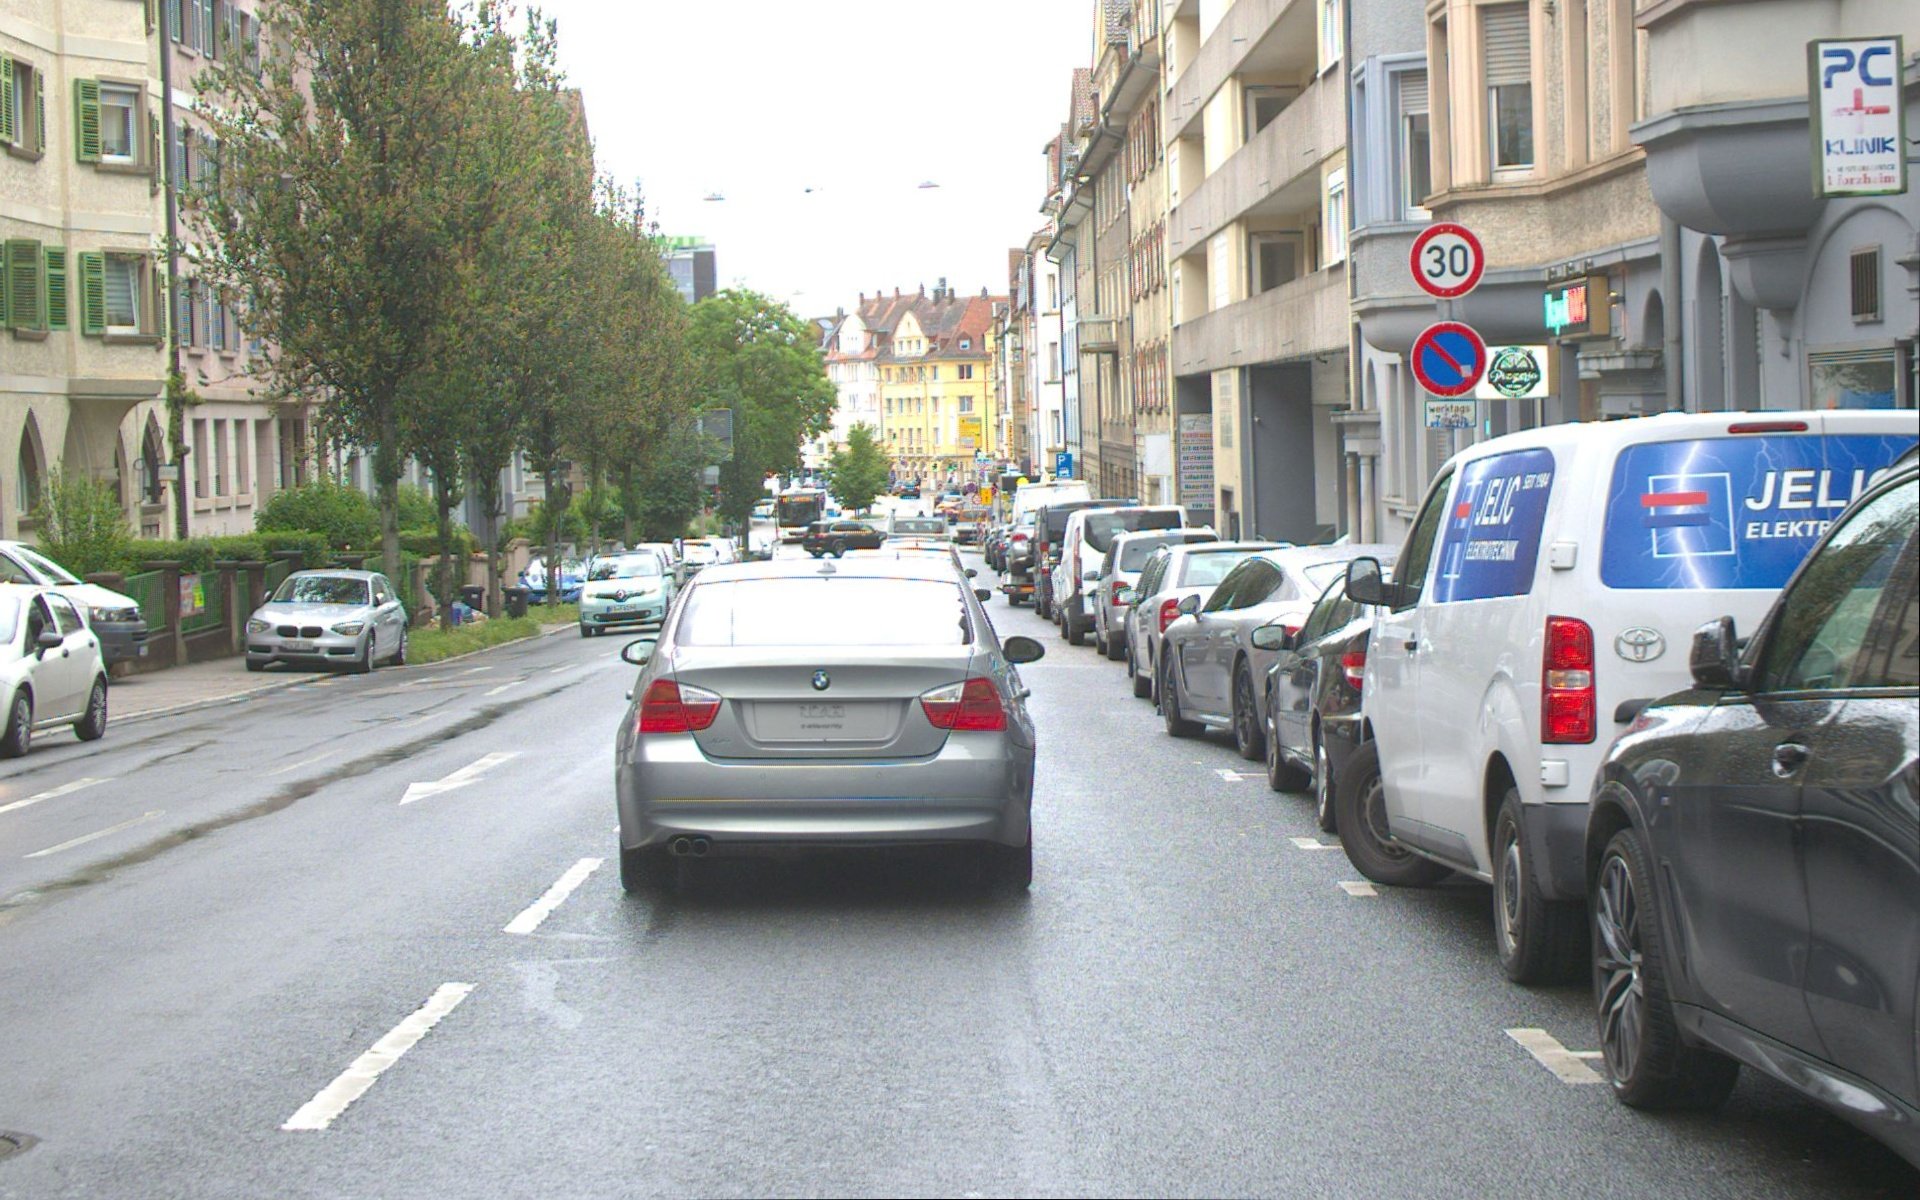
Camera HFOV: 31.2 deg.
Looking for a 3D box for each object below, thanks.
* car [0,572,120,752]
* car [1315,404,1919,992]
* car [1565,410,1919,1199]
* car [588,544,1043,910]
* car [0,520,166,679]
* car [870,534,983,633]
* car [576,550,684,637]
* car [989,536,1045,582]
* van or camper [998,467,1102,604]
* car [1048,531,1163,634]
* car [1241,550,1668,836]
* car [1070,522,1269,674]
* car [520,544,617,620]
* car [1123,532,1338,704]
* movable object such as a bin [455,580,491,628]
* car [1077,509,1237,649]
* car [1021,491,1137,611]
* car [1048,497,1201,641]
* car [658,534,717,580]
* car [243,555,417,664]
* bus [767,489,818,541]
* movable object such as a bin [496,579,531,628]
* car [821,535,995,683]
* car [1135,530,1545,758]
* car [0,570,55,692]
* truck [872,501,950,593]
[{"bbox_3d":[-8.699,0.513,30.166,1.621,1.441,4.005,-1,1,1],"label":"car"},{"bbox_3d":[2.653,0.259,13.411,1.919,1.821,5.009,-2,1,0],"label":"car"},{"bbox_3d":[2.686,0.507,7.410,1.879,1.725,4.677,1,1,-1],"label":"car"},{"bbox_3d":[-0.638,0.480,15.374,1.769,1.423,3.741,1,1,-2],"label":"car"},{"bbox_3d":[-12.989,0.025,44.633,4.829,1.967,2.048,-2,1,0],"label":"car"},{"bbox_3d":[-0.551,-0.272,54.019,1.697,1.478,3.794,1,1,-1],"label":"car"},{"bbox_3d":[-6.234,-0.146,65.207,1.636,1.503,3.755,-4,1,0],"label":"car"},{"bbox_3d":[1.897,-1.364,115.068,1.697,1.478,3.975,1,1,-1],"label":"car"},{"bbox_3d":[2.069,-1.444,76.996,2.033,2.859,6.884,2,1,3],"label":"van or camper"},{"bbox_3d":[2.476,-0.329,59.366,1.726,1.664,4.289,-2,1,0],"label":"car"},{"bbox_3d":[2.566,0.419,18.767,1.677,1.370,4.276,0,1,0],"label":"car"},{"bbox_3d":[2.276,-0.063,38.504,1.900,1.473,4.799,-4,1,1],"label":"car"},{"bbox_3d":[-8.866,-0.427,78.142,1.766,1.588,4.000,-3,1,-2],"label":"car"},{"bbox_3d":[2.417,0.123,31.536,1.611,1.469,4.016,0,1,0],"label":"car"},{"bbox_3d":[-9.348,0.072,65.975,0.574,0.909,0.640,-2,1,-14],"label":"movable object such as a bin"},{"bbox_3d":[2.534,-0.298,45.101,1.726,1.664,4.289,-3,1,0],"label":"car"},{"bbox_3d":[2.258,-0.952,66.451,1.982,2.158,4.750,-2,1,0],"label":"car"},{"bbox_3d":[2.433,-0.486,51.832,1.982,2.000,4.625,-2,1,0],"label":"car"},{"bbox_3d":[-9.524,-1.515,120.379,1.691,1.518,3.736,-3,1,1],"label":"car"},{"bbox_3d":[-9.081,0.121,49.800,1.726,1.478,3.989,1,0,0],"label":"car"},{"bbox_3d":[-10.071,-5.088,207.504,2.668,3.014,7.671,-2,1,0],"label":"bus"},{"bbox_3d":[-8.597,0.063,66.211,0.574,0.909,0.640,-2,1,-14],"label":"movable object such as a bin"},{"bbox_3d":[-0.494,0.066,35.550,1.682,1.423,3.741,1,1,1],"label":"car"},{"bbox_3d":[2.576,0.256,24.525,1.875,1.462,4.776,0,1,-7],"label":"car"},{"bbox_3d":[-13.536,0.428,42.078,4.431,1.447,1.792,-2,1,-3],"label":"car"},{"bbox_3d":[-1.346,-1.418,92.833,2.032,2.404,4.827,1,0,-1],"label":"truck"}]
